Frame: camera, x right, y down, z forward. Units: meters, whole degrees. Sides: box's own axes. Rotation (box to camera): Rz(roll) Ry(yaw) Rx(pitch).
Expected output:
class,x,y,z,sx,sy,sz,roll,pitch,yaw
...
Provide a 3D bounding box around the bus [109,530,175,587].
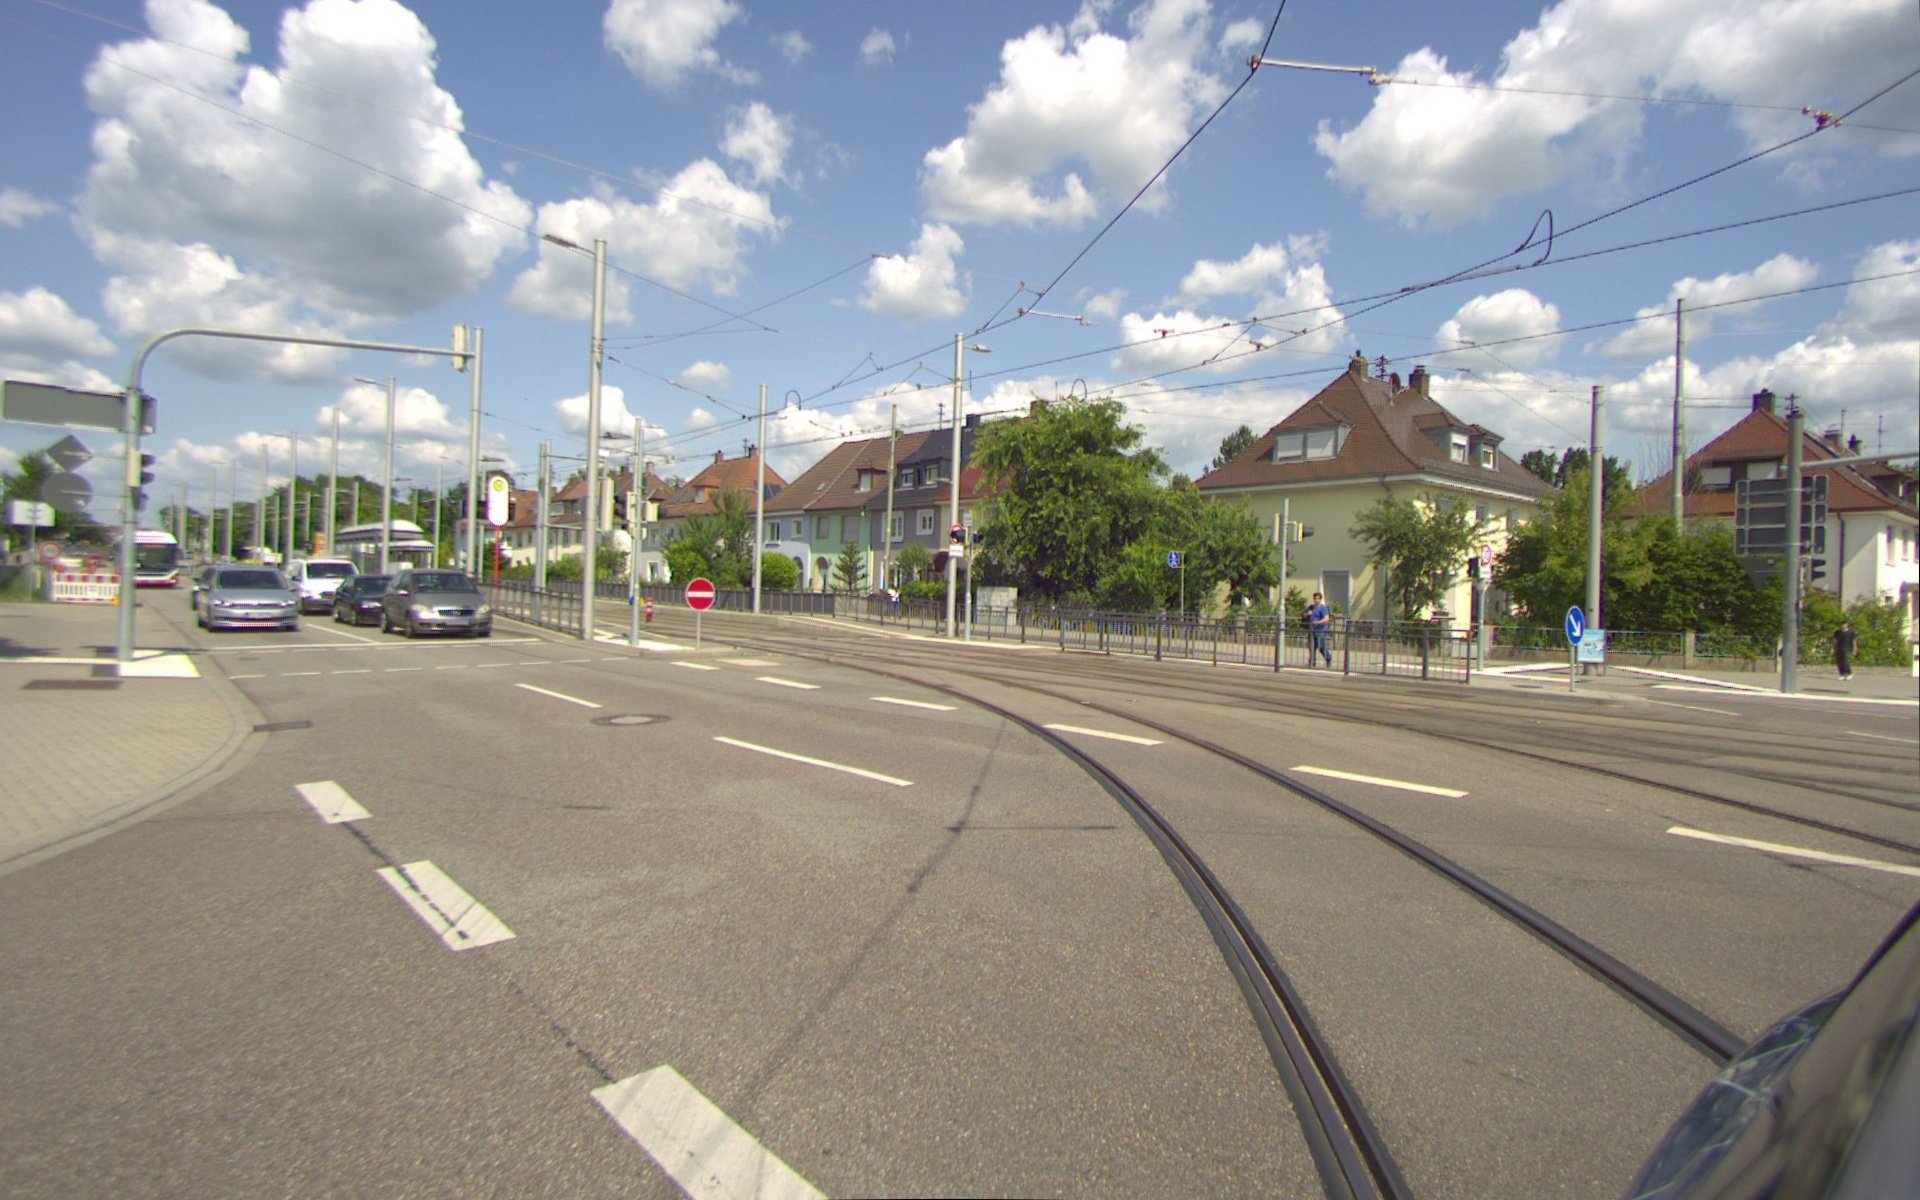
class,x,y,z,sx,sy,sz,roll,pitch,yaw
bus,-48.656,-2.449,60.118,2.467,3.160,6.640,1,1,-44

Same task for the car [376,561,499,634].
class,x,y,z,sx,sy,sz,roll,pitch,yaw
car,-12.580,-0.095,24.236,1.809,1.588,3.996,1,1,-39

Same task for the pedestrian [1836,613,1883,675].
class,x,y,z,sx,sy,sz,roll,pitch,yaw
pedestrian,26.718,1.308,30.070,0.918,1.790,0.594,2,0,-17

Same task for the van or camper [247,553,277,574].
class,x,y,z,sx,sy,sz,roll,pitch,yaw
van or camper,-113.337,-5.859,164.344,2.956,3.250,7.108,1,-1,-43

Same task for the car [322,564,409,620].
class,x,y,z,sx,sy,sz,roll,pitch,yaw
car,-16.790,-0.240,28.516,1.548,1.464,3.719,1,1,-39

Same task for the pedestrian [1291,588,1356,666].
class,x,y,z,sx,sy,sz,roll,pitch,yaw
pedestrian,8.562,0.615,23.844,1.023,1.757,1.031,2,0,-42

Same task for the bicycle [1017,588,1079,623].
class,x,y,z,sx,sy,sz,roll,pitch,yaw
bicycle,3.582,0.212,41.603,0.613,1.351,2.794,2,0,-45

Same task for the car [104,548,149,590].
class,x,y,z,sx,sy,sz,roll,pitch,yaw
car,-54.923,-2.043,66.678,1.944,2.660,5.150,1,1,-43

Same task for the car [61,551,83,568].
class,x,y,z,sx,sy,sz,roll,pitch,yaw
car,-116.653,-5.259,132.942,1.967,2.039,3.990,1,-1,-44

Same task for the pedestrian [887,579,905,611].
class,x,y,z,sx,sy,sz,roll,pitch,yaw
pedestrian,-2.978,-0.222,47.189,0.673,1.450,0.516,2,0,-30

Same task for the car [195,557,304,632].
class,x,y,z,sx,sy,sz,roll,pitch,yaw
car,-17.765,-0.160,25.239,1.904,1.713,3.996,1,1,-39

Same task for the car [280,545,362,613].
class,x,y,z,sx,sy,sz,roll,pitch,yaw
car,-21.987,-0.727,34.720,1.782,2.186,4.843,1,1,-39

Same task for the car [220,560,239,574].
class,x,y,z,sx,sy,sz,roll,pitch,yaw
car,-117.552,-5.293,162.914,1.967,2.039,3.990,1,-1,-44

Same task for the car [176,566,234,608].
class,x,y,z,sx,sy,sz,roll,pitch,yaw
car,-27.508,-0.492,36.847,1.533,1.447,3.588,1,1,-39
